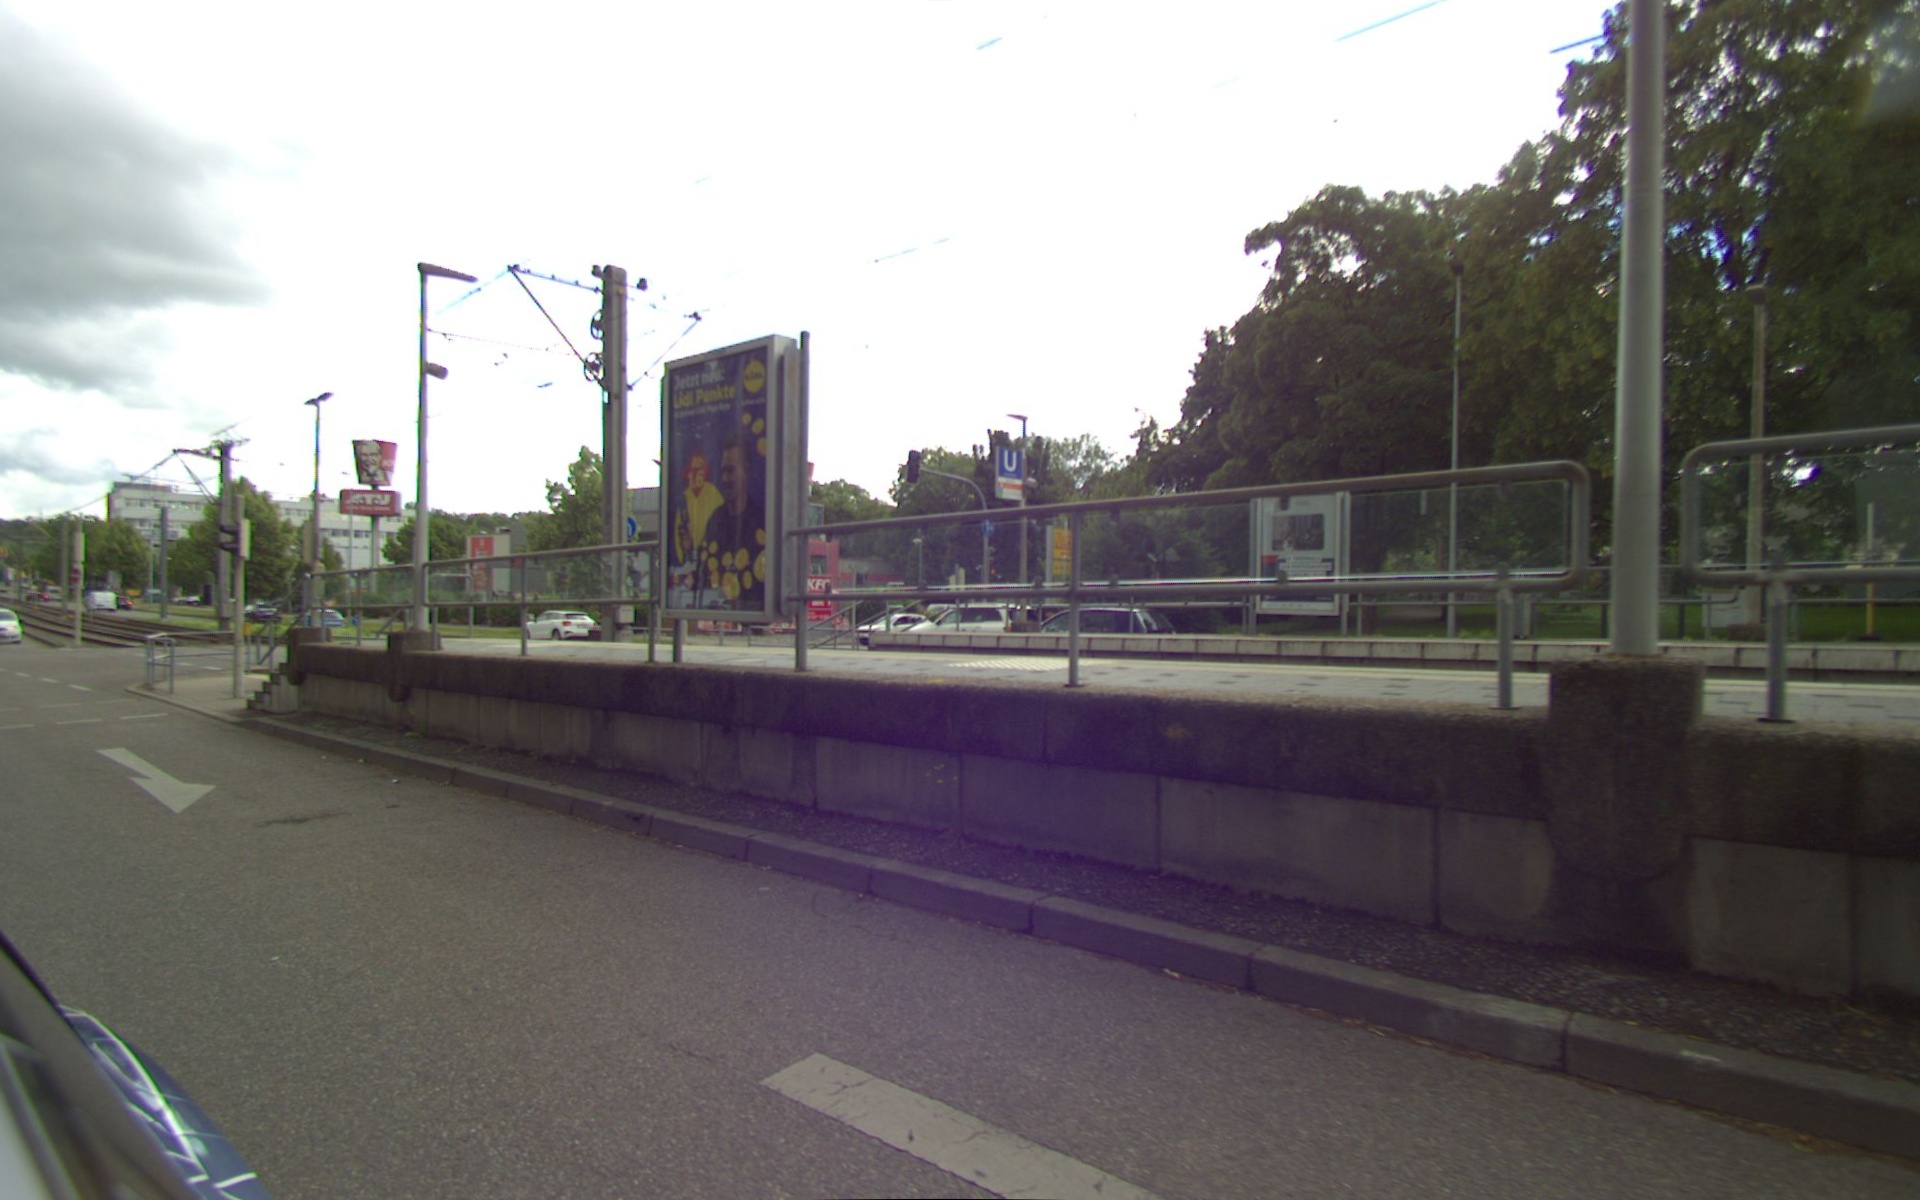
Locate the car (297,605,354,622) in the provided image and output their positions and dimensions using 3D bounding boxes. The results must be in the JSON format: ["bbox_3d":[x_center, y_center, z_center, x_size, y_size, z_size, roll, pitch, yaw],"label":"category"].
[{"bbox_3d":[-57.419,1.183,91.667,2.094,1.377,3.944,0,2,43],"label":"car"}]

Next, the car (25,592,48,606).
[{"bbox_3d":[-140.366,-0.179,153.808,3.997,2.029,1.973,0,-2,40],"label":"car"}]

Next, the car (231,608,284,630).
[{"bbox_3d":[-50.054,1.346,72.082,4.503,1.493,1.973,-1,-3,40],"label":"car"}]

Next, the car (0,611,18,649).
[{"bbox_3d":[-41.113,1.266,42.603,3.999,1.454,1.763,0,2,42],"label":"car"}]

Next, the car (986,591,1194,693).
[{"bbox_3d":[2.618,0.773,20.868,3.997,1.874,1.680,0,2,40],"label":"car"}]

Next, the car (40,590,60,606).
[{"bbox_3d":[-154.994,-0.368,172.356,6.000,2.518,1.848,0,-2,43],"label":"car"}]

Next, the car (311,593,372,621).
[{"bbox_3d":[-52.330,0.535,85.640,2.059,2.181,3.944,0,2,43],"label":"car"}]

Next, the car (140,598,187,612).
[{"bbox_3d":[-102.139,0.627,129.825,4.546,1.503,2.002,-3,2,-43],"label":"car"}]

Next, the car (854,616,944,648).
[{"bbox_3d":[-2.851,1.472,47.351,3.828,1.418,1.851,1,-1,-38],"label":"car"}]

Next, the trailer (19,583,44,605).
[{"bbox_3d":[-179.451,-1.162,195.569,14.430,3.926,2.641,0,-2,44],"label":"trailer"}]

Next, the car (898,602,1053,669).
[{"bbox_3d":[0.397,0.978,29.174,4.398,1.764,1.692,1,-1,41],"label":"car"}]

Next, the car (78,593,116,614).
[{"bbox_3d":[-86.785,0.373,101.731,4.879,2.029,1.974,0,-1,38],"label":"car"}]

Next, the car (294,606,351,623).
[{"bbox_3d":[-56.447,1.280,89.651,2.000,1.245,3.944,0,2,43],"label":"car"}]

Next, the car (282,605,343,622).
[{"bbox_3d":[-59.655,1.228,93.234,2.196,1.364,4.326,0,2,43],"label":"car"}]

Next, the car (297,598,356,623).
[{"bbox_3d":[-55.122,0.873,88.046,2.000,1.932,3.944,0,2,43],"label":"car"}]

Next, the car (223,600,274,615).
[{"bbox_3d":[-80.325,0.857,114.246,1.794,1.518,4.424,0,2,40],"label":"car"}]

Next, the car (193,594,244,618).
[{"bbox_3d":[-87.598,0.734,119.602,2.289,2.769,4.420,1,-1,43],"label":"car"}]

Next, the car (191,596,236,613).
[{"bbox_3d":[-93.701,0.598,127.016,4.294,1.933,2.002,-3,2,-43],"label":"car"}]

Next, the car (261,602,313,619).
[{"bbox_3d":[-67.823,1.064,102.017,1.938,1.518,3.944,0,2,43],"label":"car"}]

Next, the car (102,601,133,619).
[{"bbox_3d":[-94.616,1.096,113.672,4.103,2.029,1.973,0,-1,40],"label":"car"}]

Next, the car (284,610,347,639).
[{"bbox_3d":[-35.011,1.312,54.930,4.047,1.457,1.580,0,-2,38],"label":"car"}]

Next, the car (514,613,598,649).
[{"bbox_3d":[-17.976,1.372,44.957,3.995,1.457,1.669,0,-2,38],"label":"car"}]

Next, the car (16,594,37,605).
[{"bbox_3d":[-148.924,-0.082,161.435,4.477,1.594,1.765,1,-2,39],"label":"car"}]
